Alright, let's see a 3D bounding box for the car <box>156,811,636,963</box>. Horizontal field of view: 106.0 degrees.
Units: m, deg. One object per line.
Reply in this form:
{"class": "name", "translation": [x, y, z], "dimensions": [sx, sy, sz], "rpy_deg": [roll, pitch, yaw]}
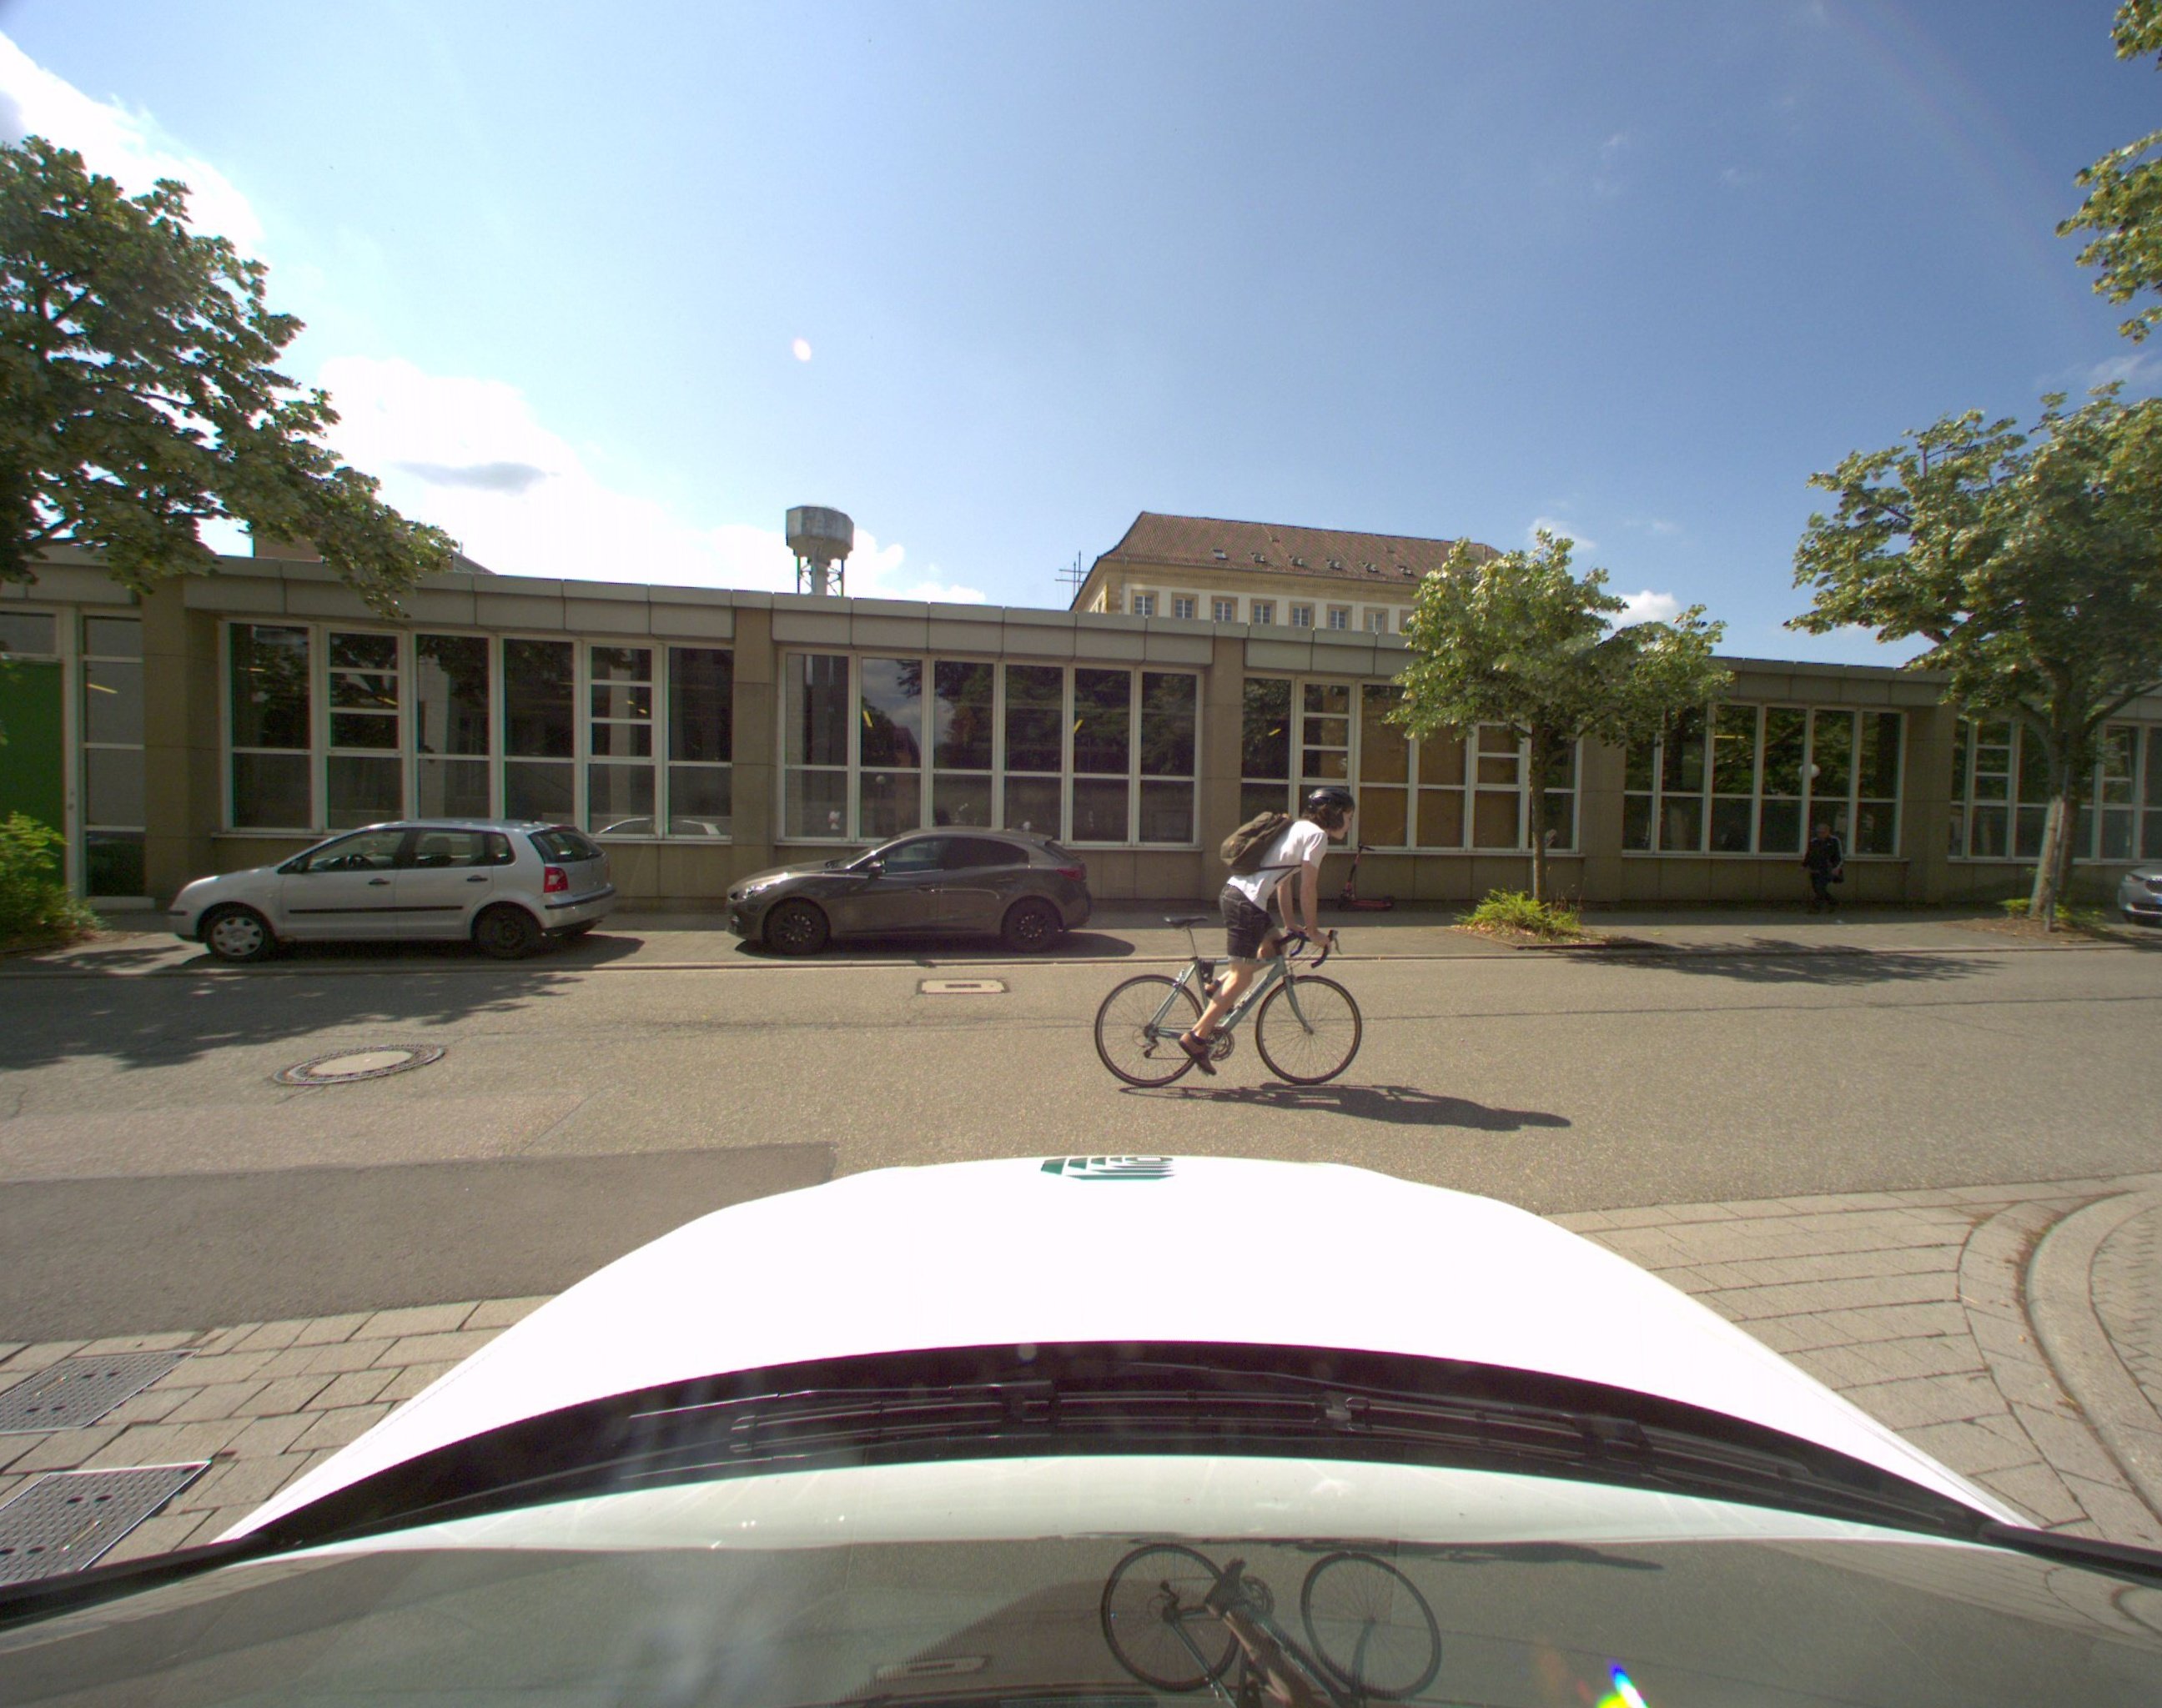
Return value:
{"class": "car", "translation": [-7.351, 0.301, 9.161], "dimensions": [3.741, 1.448, 1.630], "rpy_deg": [1, 5, -10]}

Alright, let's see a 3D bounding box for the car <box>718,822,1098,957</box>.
{"class": "car", "translation": [-2.043, 0.355, 10.266], "dimensions": [4.276, 1.434, 1.726], "rpy_deg": [0, 4, -10]}

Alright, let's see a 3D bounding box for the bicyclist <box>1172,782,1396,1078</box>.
{"class": "bicyclist", "translation": [1.184, 0.415, 4.948], "dimensions": [1.090, 1.661, 0.719], "rpy_deg": [1, 4, -5]}

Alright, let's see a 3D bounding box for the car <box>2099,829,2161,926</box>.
{"class": "car", "translation": [20.791, 0.451, 14.252], "dimensions": [4.505, 1.631, 1.821], "rpy_deg": [1, 4, -12]}

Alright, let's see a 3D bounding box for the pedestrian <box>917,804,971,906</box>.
{"class": "pedestrian", "translation": [-2.122, 0.005, 12.659], "dimensions": [0.795, 1.541, 0.662], "rpy_deg": [0, 2, -10]}

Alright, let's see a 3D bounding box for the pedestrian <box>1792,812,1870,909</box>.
{"class": "pedestrian", "translation": [14.307, 0.101, 15.556], "dimensions": [0.668, 1.786, 0.789], "rpy_deg": [0, 3, -8]}

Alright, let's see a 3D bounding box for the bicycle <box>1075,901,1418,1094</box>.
{"class": "bicycle", "translation": [0.945, 0.833, 4.951], "dimensions": [1.901, 0.992, 0.708], "rpy_deg": [1, 4, -5]}

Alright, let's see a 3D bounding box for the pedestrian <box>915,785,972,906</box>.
{"class": "pedestrian", "translation": [-2.030, -0.130, 12.031], "dimensions": [0.795, 1.728, 0.599], "rpy_deg": [0, 2, -10]}

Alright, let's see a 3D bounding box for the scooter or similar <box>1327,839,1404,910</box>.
{"class": "scooter or similar", "translation": [5.041, 0.354, 14.442], "dimensions": [1.242, 1.206, 0.382], "rpy_deg": [0, 4, -11]}
